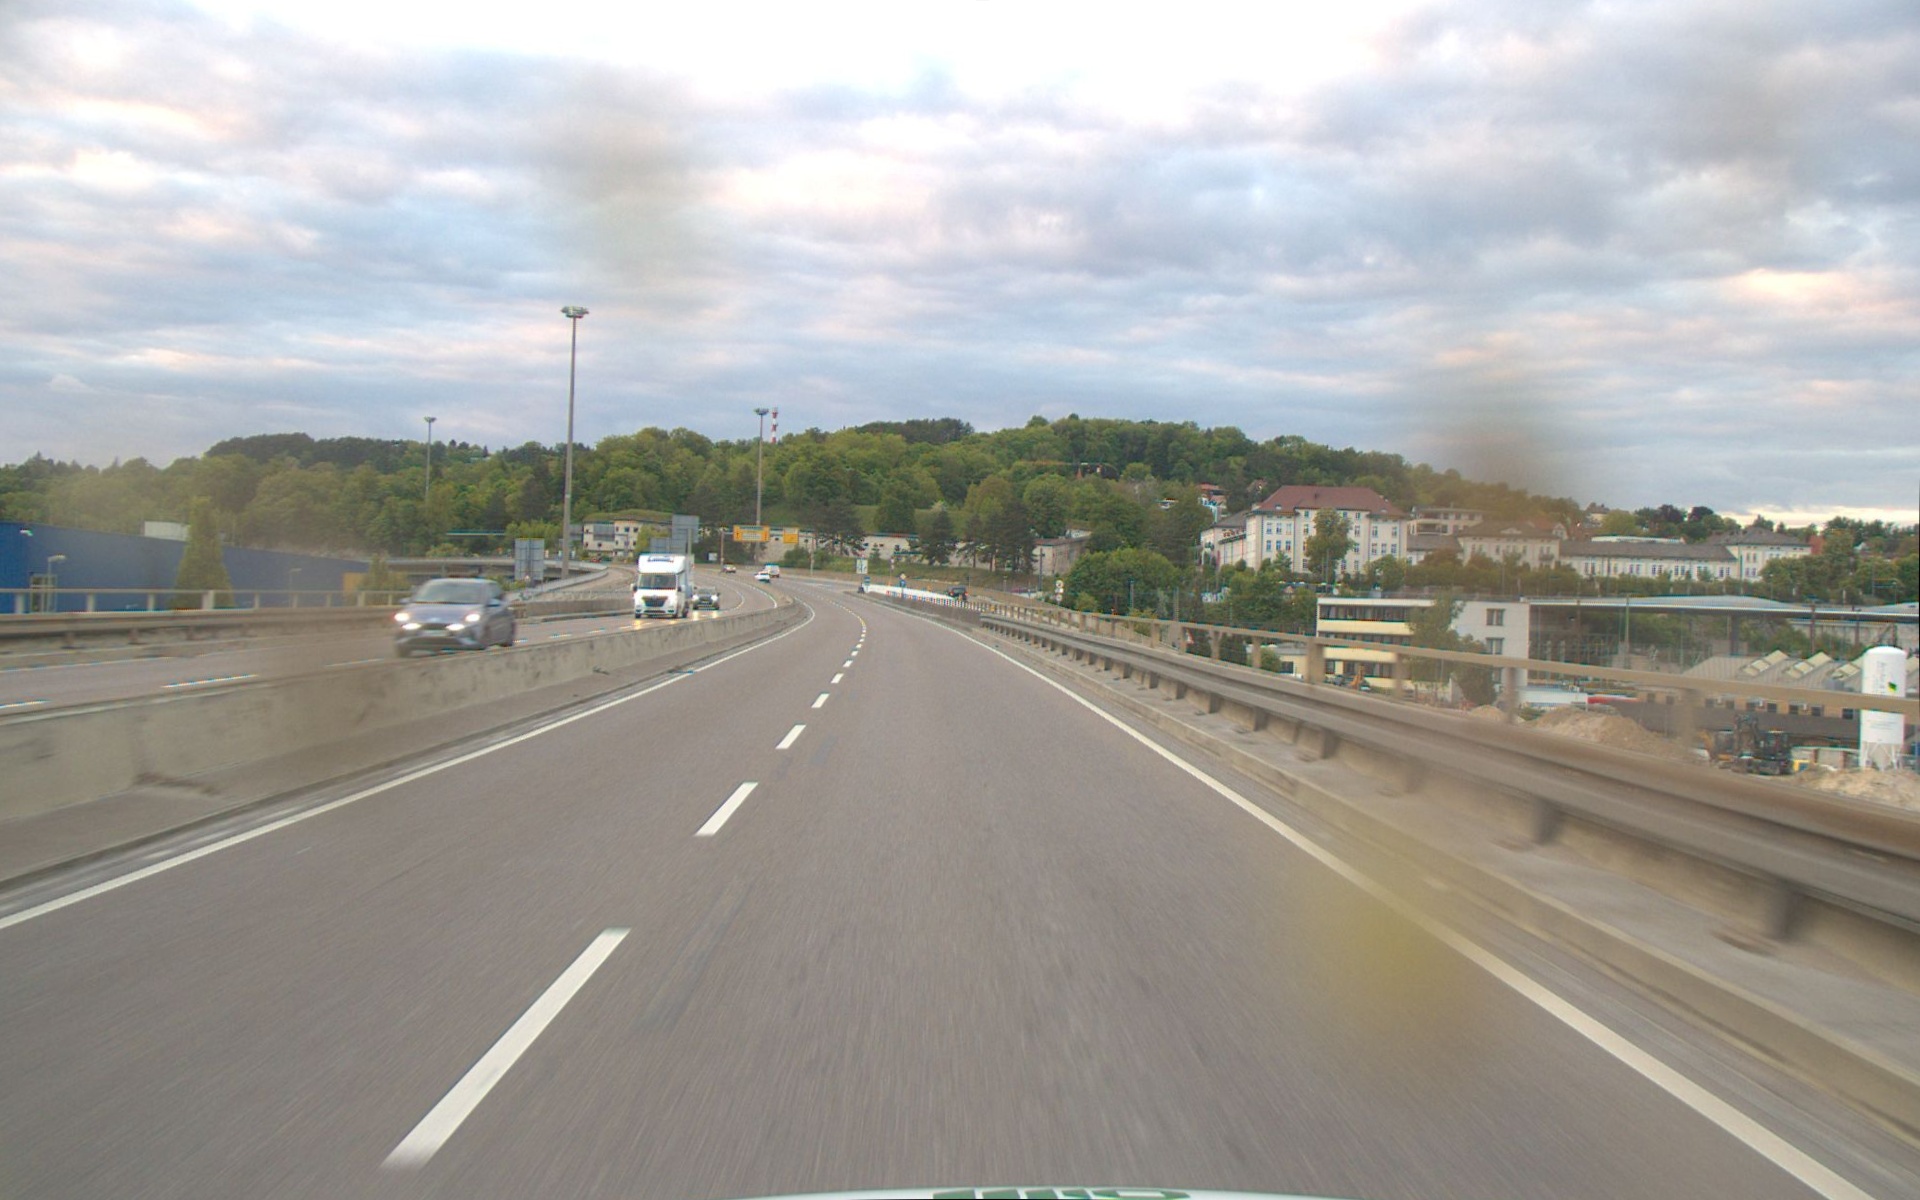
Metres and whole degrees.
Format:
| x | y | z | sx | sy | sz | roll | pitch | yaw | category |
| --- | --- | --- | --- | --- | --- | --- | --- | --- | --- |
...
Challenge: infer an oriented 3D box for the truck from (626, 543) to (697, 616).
| x | y | z | sx | sy | sz | roll | pitch | yaw | category |
| --- | --- | --- | --- | --- | --- | --- | --- | --- | --- |
| -14.439 | -0.968 | 80.465 | 2.484 | 3.354 | 7.441 | 1 | 0 | -4 | truck |

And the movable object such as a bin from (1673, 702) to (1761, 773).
| x | y | z | sx | sy | sz | roll | pitch | yaw | category |
| --- | --- | --- | --- | --- | --- | --- | --- | --- | --- |
| 54.858 | 9.935 | 119.948 | 4.868 | 4.383 | 2.770 | 8 | -1 | -19 | movable object such as a bin |

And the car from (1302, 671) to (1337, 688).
| x | y | z | sx | sy | sz | roll | pitch | yaw | category |
| --- | --- | --- | --- | --- | --- | --- | --- | --- | --- |
| 41.869 | 9.237 | 192.484 | 3.959 | 1.592 | 1.808 | 5 | 2 | -38 | car |

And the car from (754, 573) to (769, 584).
| x | y | z | sx | sy | sz | roll | pitch | yaw | category |
| --- | --- | --- | --- | --- | --- | --- | --- | --- | --- |
| -27.809 | -2.983 | 231.971 | 1.603 | 1.412 | 3.987 | 0 | 2 | -14 | car |

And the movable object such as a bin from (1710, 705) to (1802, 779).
| x | y | z | sx | sy | sz | roll | pitch | yaw | category |
| --- | --- | --- | --- | --- | --- | --- | --- | --- | --- |
| 55.894 | 9.951 | 116.165 | 4.868 | 4.383 | 2.770 | 8 | -1 | -19 | movable object such as a bin |

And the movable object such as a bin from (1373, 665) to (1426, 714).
| x | y | z | sx | sy | sz | roll | pitch | yaw | category |
| --- | --- | --- | --- | --- | --- | --- | --- | --- | --- |
| 45.562 | 9.241 | 171.599 | 2.732 | 4.383 | 4.936 | 7 | 0 | -16 | movable object such as a bin |

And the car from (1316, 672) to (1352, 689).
| x | y | z | sx | sy | sz | roll | pitch | yaw | category |
| --- | --- | --- | --- | --- | --- | --- | --- | --- | --- |
| 42.851 | 9.252 | 189.351 | 3.959 | 1.592 | 1.808 | 5 | 2 | -38 | car |

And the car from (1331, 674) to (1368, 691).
| x | y | z | sx | sy | sz | roll | pitch | yaw | category |
| --- | --- | --- | --- | --- | --- | --- | --- | --- | --- |
| 43.690 | 9.267 | 185.509 | 3.959 | 1.592 | 1.808 | 5 | 2 | -38 | car |

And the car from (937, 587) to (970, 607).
| x | y | z | sx | sy | sz | roll | pitch | yaw | category |
| --- | --- | --- | --- | --- | --- | --- | --- | --- | --- |
| -0.653 | -0.317 | 162.790 | 2.265 | 1.794 | 4.248 | 2 | 1 | -13 | car |

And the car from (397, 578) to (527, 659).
| x | y | z | sx | sy | sz | roll | pitch | yaw | category |
| --- | --- | --- | --- | --- | --- | --- | --- | --- | --- |
| -9.768 | 0.314 | 32.683 | 1.596 | 1.466 | 3.834 | 1 | 1 | -3 | car |

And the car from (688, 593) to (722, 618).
| x | y | z | sx | sy | sz | roll | pitch | yaw | category |
| --- | --- | --- | --- | --- | --- | --- | --- | --- | --- |
| -17.481 | 0.381 | 113.547 | 1.938 | 1.634 | 4.437 | 1 | 0 | -5 | car |
